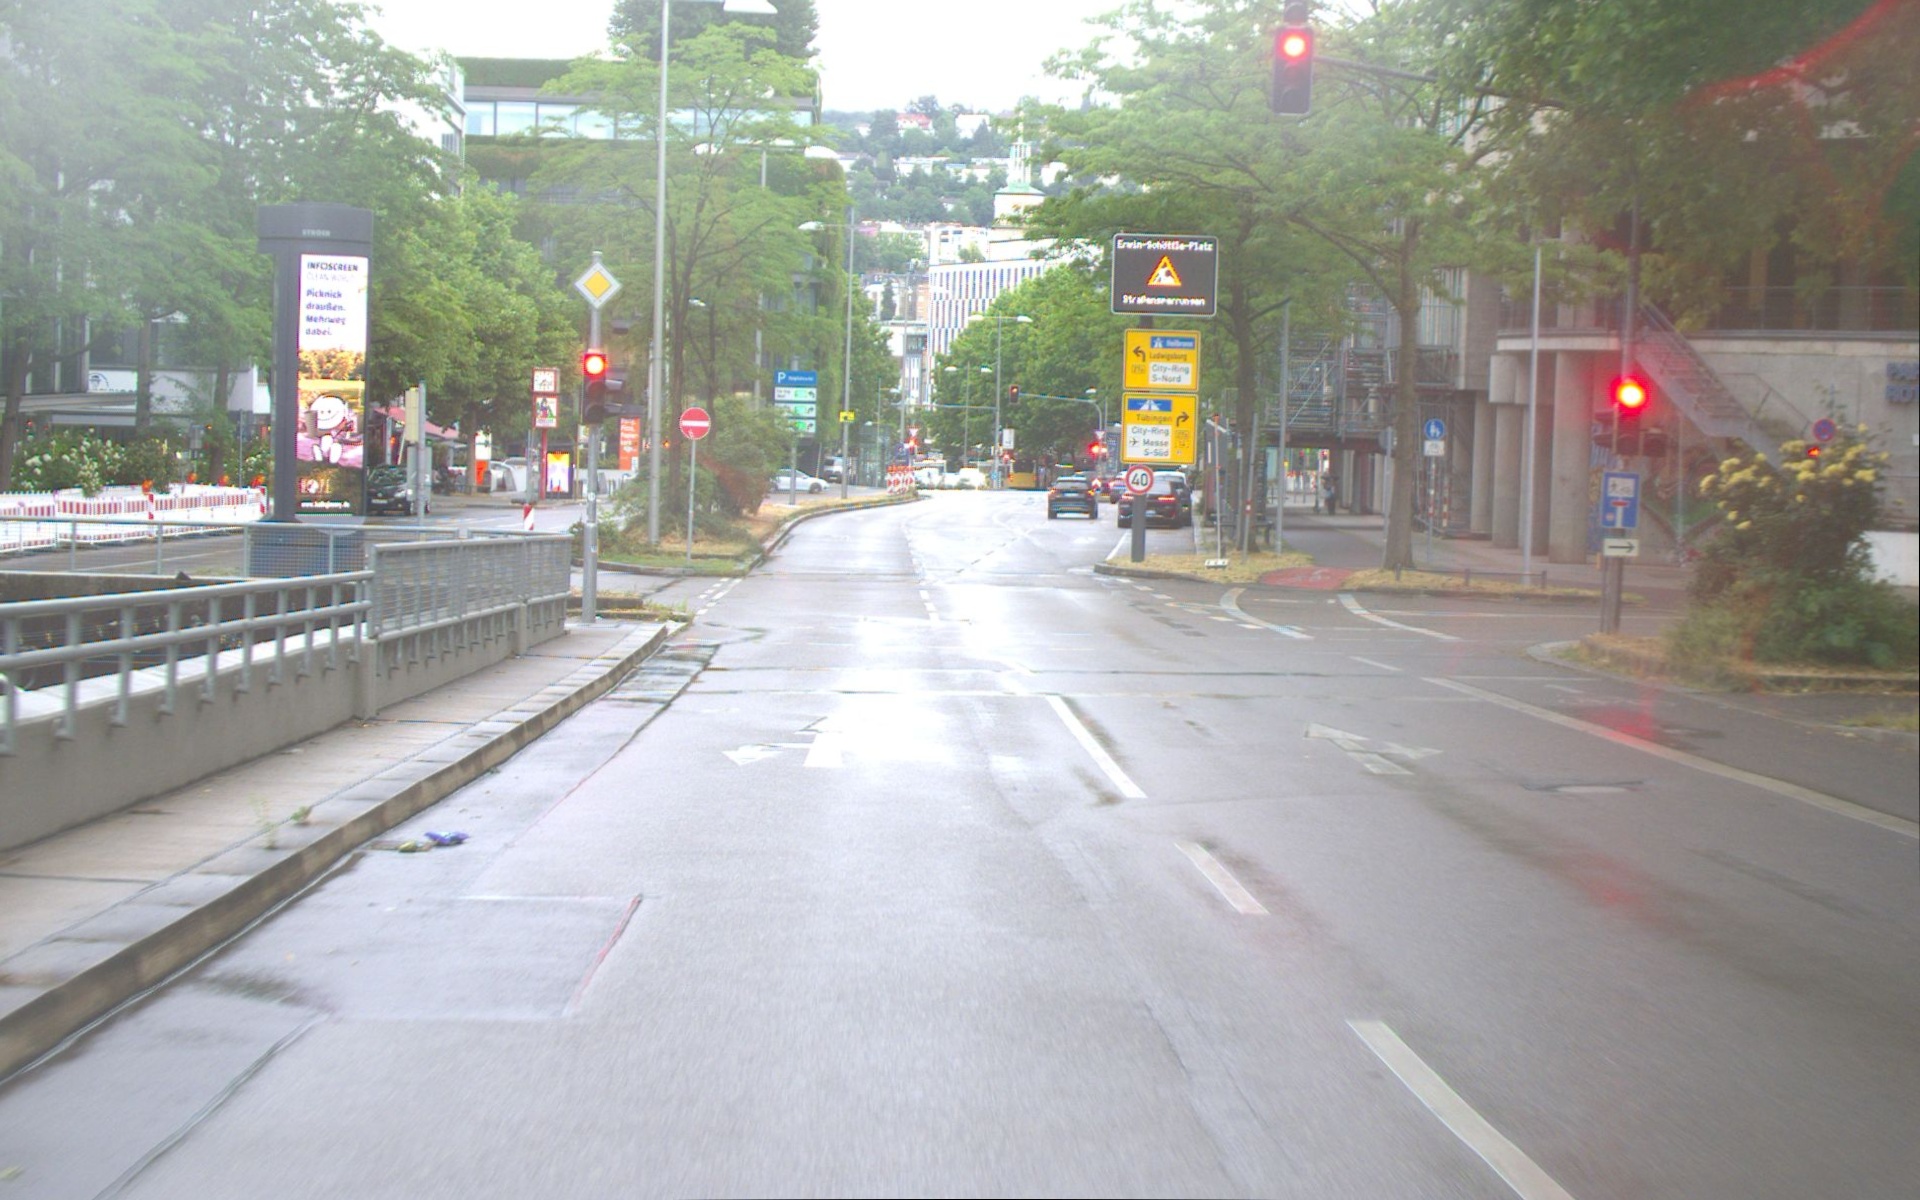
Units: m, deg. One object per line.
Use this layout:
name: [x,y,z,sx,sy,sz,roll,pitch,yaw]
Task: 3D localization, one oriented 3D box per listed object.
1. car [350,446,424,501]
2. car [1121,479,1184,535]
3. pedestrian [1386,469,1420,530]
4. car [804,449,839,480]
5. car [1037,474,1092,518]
car: [-18.283,-4.064,109.813,1.780,1.550,3.894,3,4,-2]
car: [6.168,-2.973,110.217,1.901,1.678,3.911,3,2,3]
pedestrian: [11.699,-2.657,90.852,0.786,1.552,0.533,3,1,3]
car: [-10.229,-10.038,254.644,2.128,2.157,5.197,3,2,1]
car: [3.839,-3.833,126.374,1.746,1.514,4.107,2,2,-1]
